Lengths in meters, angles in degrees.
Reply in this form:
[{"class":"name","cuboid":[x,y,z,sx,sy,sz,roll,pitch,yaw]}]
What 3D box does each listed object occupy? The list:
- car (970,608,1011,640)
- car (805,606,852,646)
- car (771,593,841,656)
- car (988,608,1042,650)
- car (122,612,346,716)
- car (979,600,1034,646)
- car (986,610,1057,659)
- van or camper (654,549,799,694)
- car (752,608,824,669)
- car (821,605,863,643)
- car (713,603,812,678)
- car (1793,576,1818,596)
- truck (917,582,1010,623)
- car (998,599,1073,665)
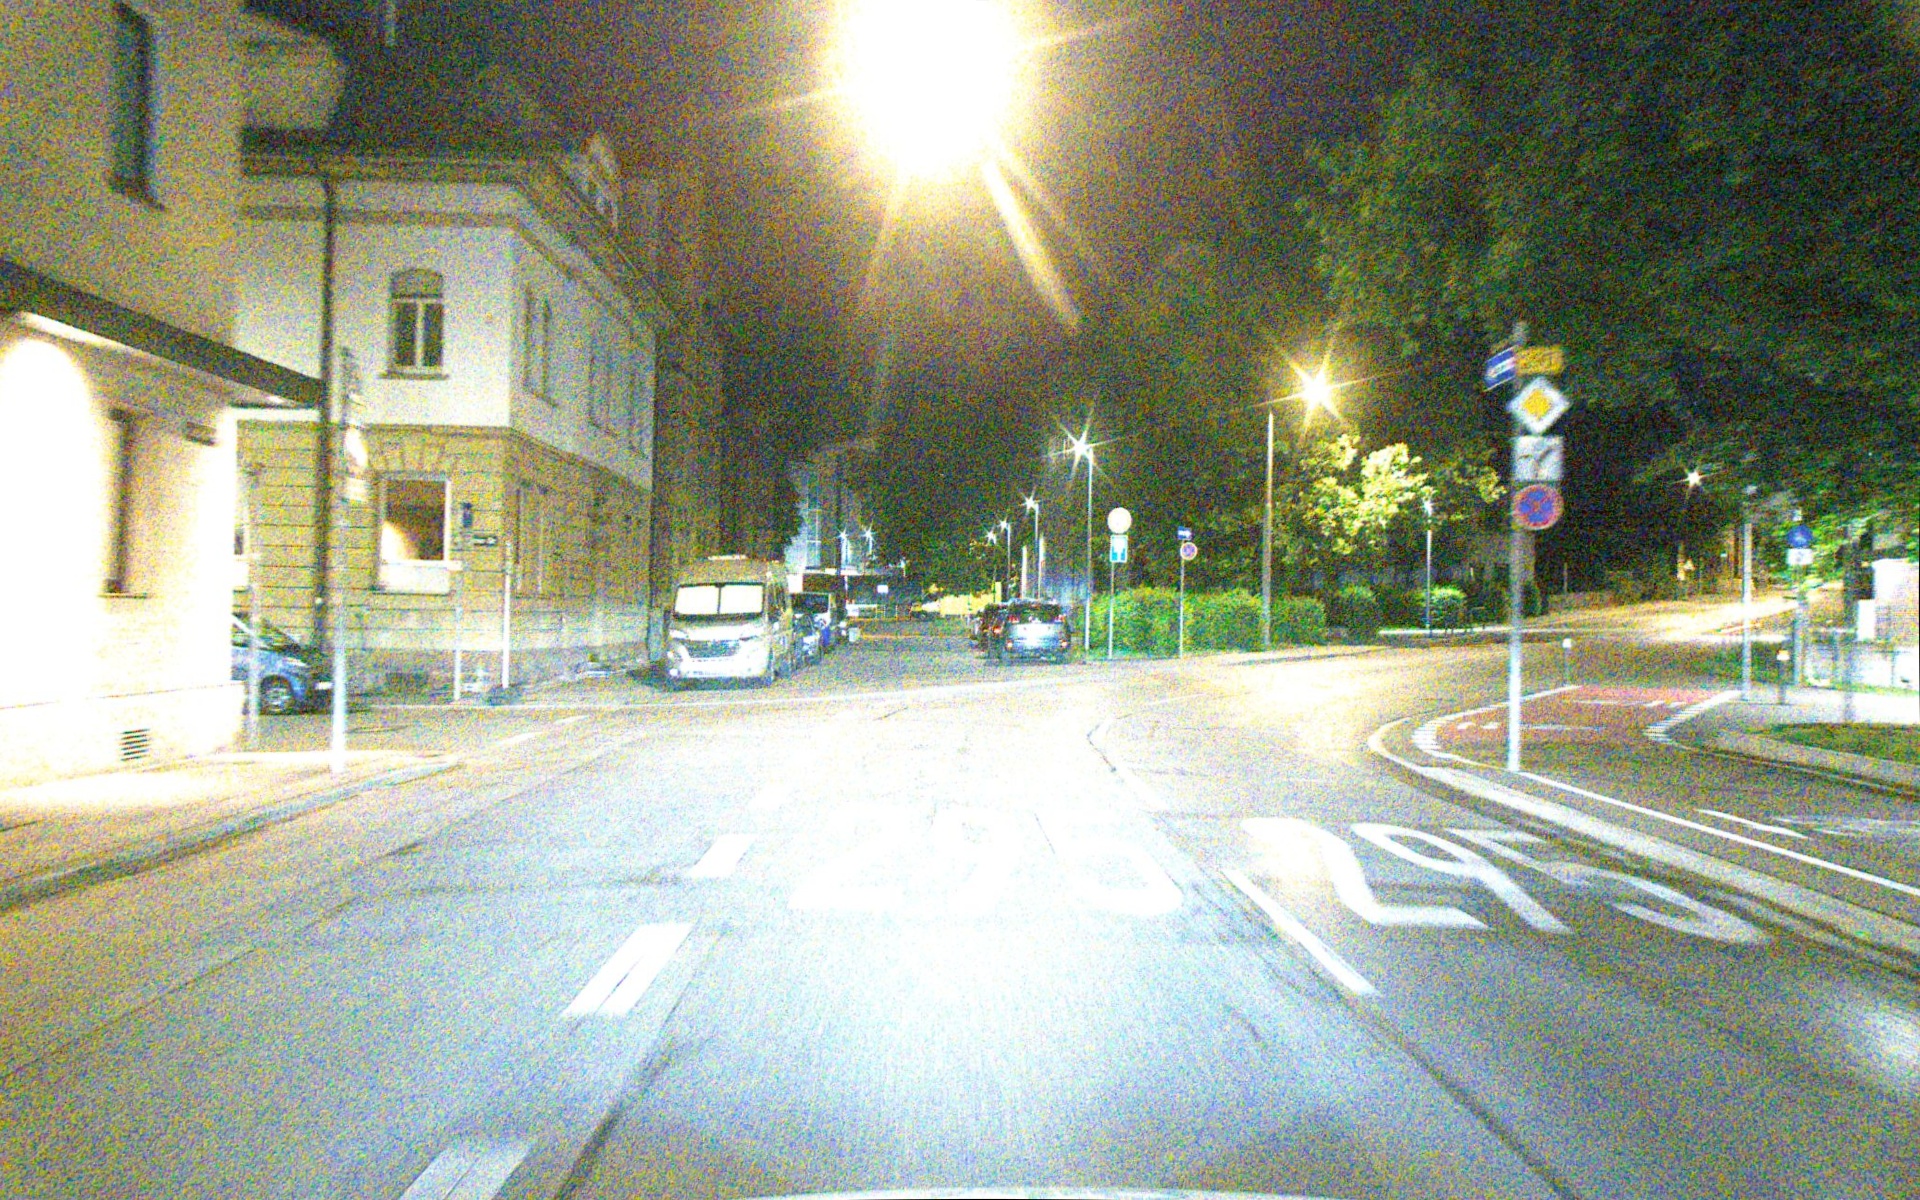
[{"class":"car","cuboid":[1.426,1.119,78.147,1.722,1.470,4.024,0,0,-2]},{"class":"car","cuboid":[-5.282,1.035,66.779,1.670,1.536,4.098,1,-1,-2]},{"class":"car","cuboid":[-5.019,0.777,54.470,1.953,1.989,4.804,0,0,-1]},{"class":"car","cuboid":[2.012,1.038,61.553,1.842,1.439,4.472,-2,0,0]},{"class":"car","cuboid":[-11.050,0.964,25.295,2.752,1.540,1.489,0,-1,-1]},{"class":"car","cuboid":[1.829,0.918,66.893,1.998,1.724,4.881,-2,-1,0]},{"class":"car","cuboid":[1.794,1.018,49.361,1.923,1.407,3.999,0,-1,-1]},{"class":"van or camper","cuboid":[-4.585,0.417,33.443,2.114,2.580,6.224,-2,0,-1]},{"class":"car","cuboid":[-4.682,0.986,44.510,1.804,1.533,4.734,0,0,-7]},{"class":"car","cuboid":[-5.157,1.052,72.690,1.643,1.594,4.103,0,-1,-1]},{"class":"car","cuboid":[-4.581,0.911,38.931,1.853,1.618,4.373,-1,0,-1]},{"class":"car","cuboid":[83.950,-1.410,164.200,1.890,1.887,3.990,-1,-1,32]},{"class":"truck","cuboid":[0.243,0.200,121.490,6.642,2.894,1.998,1,0,-4]},{"class":"car","cuboid":[1.968,0.820,43.986,1.845,1.631,4.107,-1,-1,1]}]
